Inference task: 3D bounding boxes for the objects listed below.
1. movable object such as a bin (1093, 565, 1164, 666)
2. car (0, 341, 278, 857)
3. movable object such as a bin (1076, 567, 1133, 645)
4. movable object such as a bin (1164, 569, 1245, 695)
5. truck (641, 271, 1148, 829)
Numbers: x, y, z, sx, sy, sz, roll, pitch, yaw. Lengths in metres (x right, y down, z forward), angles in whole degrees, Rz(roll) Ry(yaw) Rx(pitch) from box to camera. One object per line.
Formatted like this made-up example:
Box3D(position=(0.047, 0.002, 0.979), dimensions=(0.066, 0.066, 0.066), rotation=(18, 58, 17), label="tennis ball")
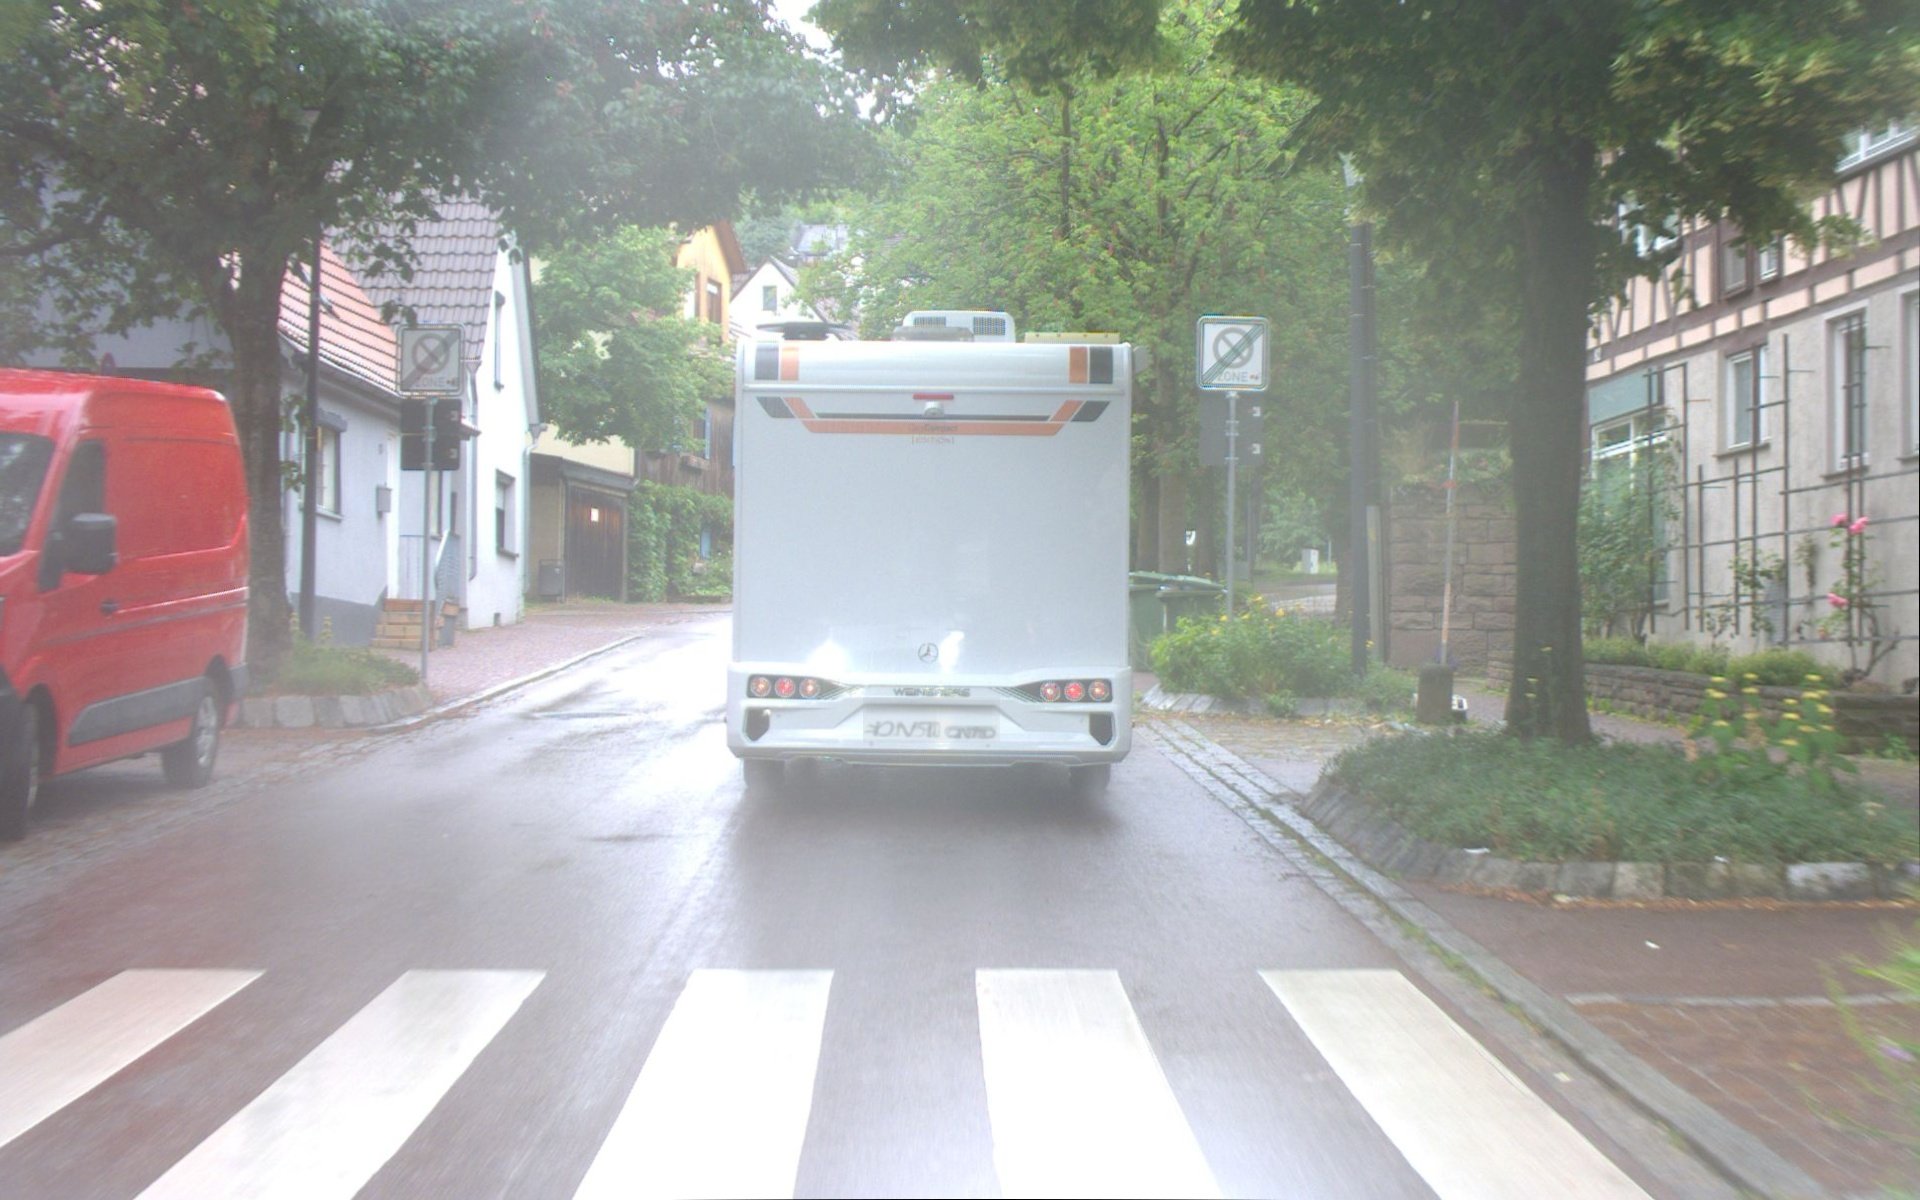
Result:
Box3D(position=(1.934, 0.177, 39.594), dimensions=(0.723, 1.139, 0.703), rotation=(1, 1, -3), label="movable object such as a bin")
Box3D(position=(-5.655, -0.095, 19.287), dimensions=(2.303, 2.474, 5.784), rotation=(1, 2, 2), label="car")
Box3D(position=(2.101, 0.080, 49.987), dimensions=(0.769, 1.103, 0.884), rotation=(-1, 1, 0), label="movable object such as a bin")
Box3D(position=(2.392, 0.309, 33.671), dimensions=(0.721, 1.208, 0.727), rotation=(1, 1, 0), label="movable object such as a bin")
Box3D(position=(-0.398, -0.315, 21.767), dimensions=(2.694, 2.975, 6.237), rotation=(1, 1, -1), label="truck")
